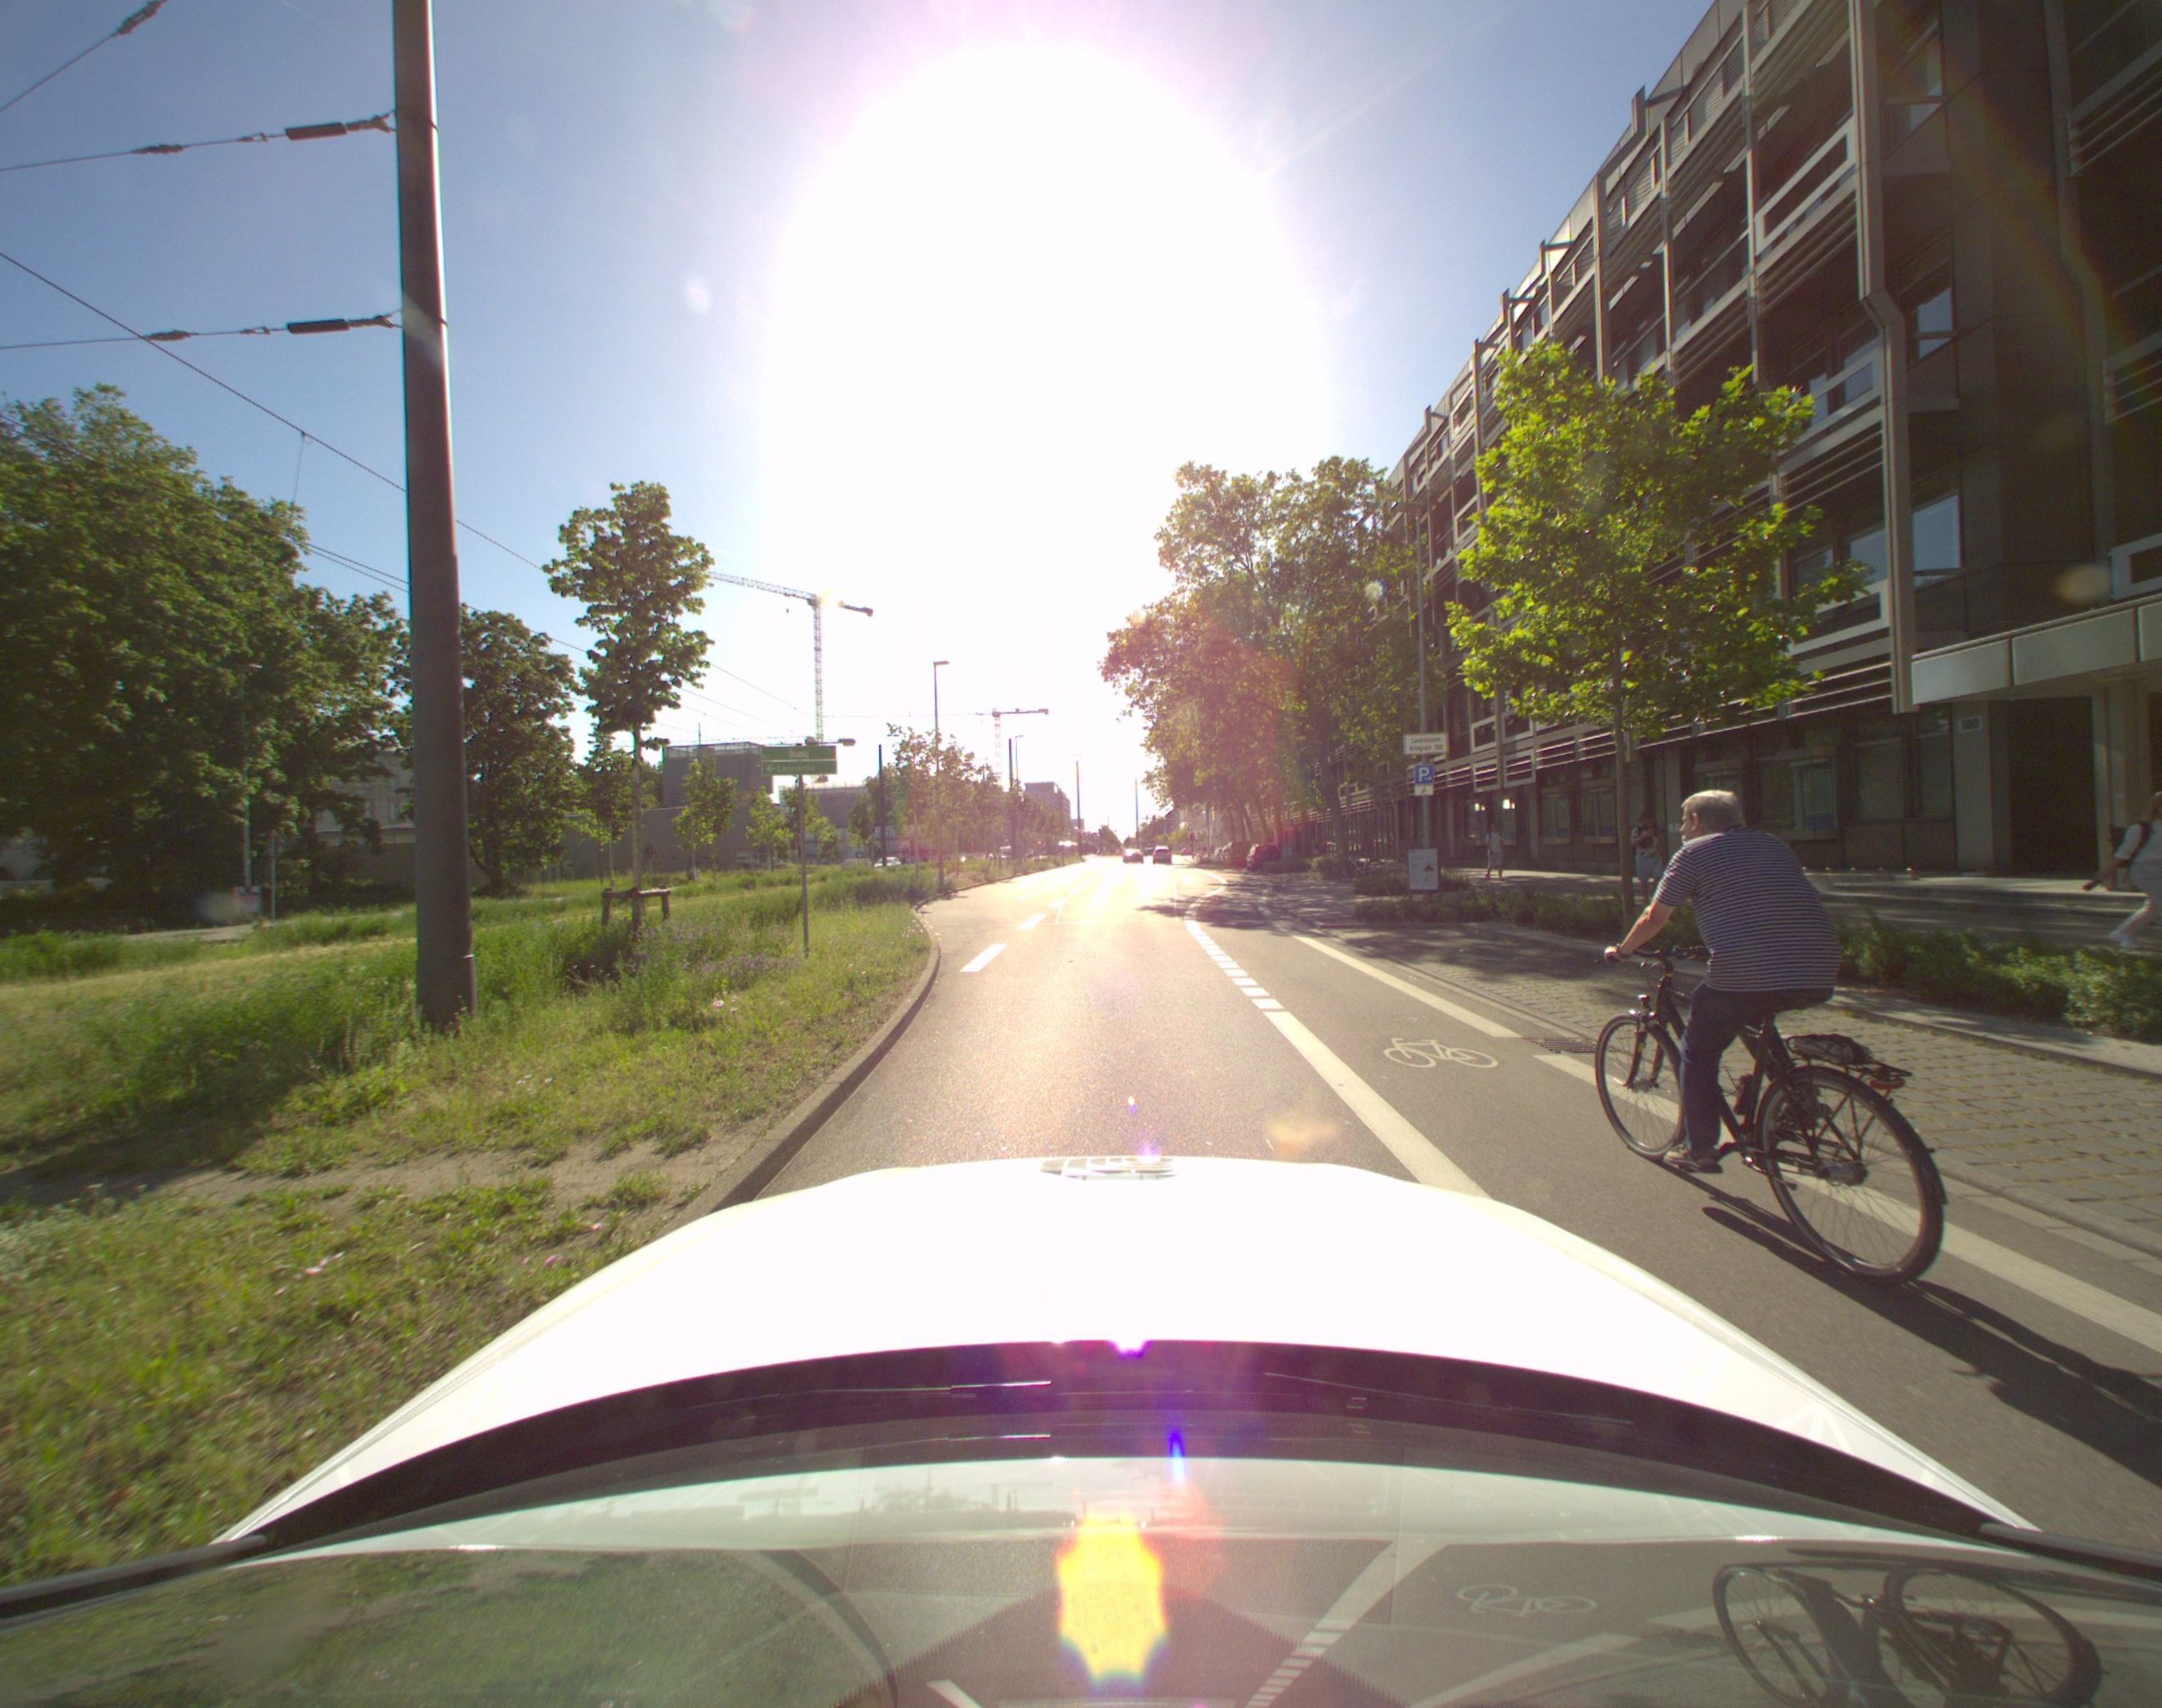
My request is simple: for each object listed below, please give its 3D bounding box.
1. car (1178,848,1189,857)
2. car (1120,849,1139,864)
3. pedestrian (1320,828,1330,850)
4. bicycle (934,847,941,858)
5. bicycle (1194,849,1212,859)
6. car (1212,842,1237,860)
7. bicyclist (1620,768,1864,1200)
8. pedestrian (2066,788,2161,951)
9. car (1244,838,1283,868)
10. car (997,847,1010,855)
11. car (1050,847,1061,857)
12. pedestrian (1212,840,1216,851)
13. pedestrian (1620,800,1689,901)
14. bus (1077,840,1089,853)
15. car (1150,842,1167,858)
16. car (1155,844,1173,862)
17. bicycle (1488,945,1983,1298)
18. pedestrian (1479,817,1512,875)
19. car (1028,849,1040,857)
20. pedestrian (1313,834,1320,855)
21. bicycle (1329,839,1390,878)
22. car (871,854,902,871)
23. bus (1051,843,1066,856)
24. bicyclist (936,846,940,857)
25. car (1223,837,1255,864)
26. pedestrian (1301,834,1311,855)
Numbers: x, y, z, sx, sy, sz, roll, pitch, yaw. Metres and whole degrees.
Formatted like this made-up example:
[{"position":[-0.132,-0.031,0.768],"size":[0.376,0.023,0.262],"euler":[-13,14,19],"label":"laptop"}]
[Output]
[{"position":[18.750,-0.227,148.662],"size":[1.655,1.649,3.703],"euler":[0,0,2],"label":"car"},{"position":[5.061,0.250,84.833],"size":[1.904,1.486,4.013],"euler":[-2,1,3],"label":"car"},{"position":[18.464,-1.129,61.577],"size":[0.551,1.603,0.574],"euler":[-2,0,4],"label":"pedestrian"},{"position":[-18.870,-0.179,107.350],"size":[0.358,1.455,1.916],"euler":[-2,1,5],"label":"bicycle"},{"position":[12.098,0.003,80.594],"size":[1.688,0.957,0.478],"euler":[-3,0,-1],"label":"bicycle"},{"position":[12.624,-0.254,71.973],"size":[1.696,1.492,4.606],"euler":[-2,1,4],"label":"car"},{"position":[2.658,0.485,3.323],"size":[0.511,1.601,0.536],"euler":[-2,0,-1],"label":"bicyclist"},{"position":[10.086,0.127,7.729],"size":[0.508,1.474,0.737],"euler":[-4,0,3],"label":"pedestrian"},{"position":[10.686,-0.099,47.976],"size":[1.695,1.643,4.644],"euler":[-2,1,6],"label":"car"},{"position":[-11.172,-0.406,117.456],"size":[1.370,1.178,3.223],"euler":[0,0,4],"label":"car"},{"position":[-4.544,-0.347,145.297],"size":[1.890,1.816,4.001],"euler":[0,0,1],"label":"car"},{"position":[17.709,-1.076,108.377],"size":[0.558,1.440,0.633],"euler":[0,-1,11],"label":"pedestrian"},{"position":[10.152,-0.060,14.435],"size":[0.645,1.728,0.804],"euler":[-2,0,3],"label":"pedestrian"},{"position":[0.581,-1.809,193.767],"size":[2.618,2.959,9.902],"euler":[0,0,2],"label":"bus"},{"position":[8.975,-0.481,94.772],"size":[1.714,1.782,4.189],"euler":[-2,1,3],"label":"car"},{"position":[8.157,-0.126,80.178],"size":[1.713,1.618,4.193],"euler":[-2,1,6],"label":"car"},{"position":[2.675,0.989,3.744],"size":[0.496,0.906,2.196],"euler":[0,0,0],"label":"bicycle"},{"position":[12.515,-0.241,24.606],"size":[0.508,1.700,0.774],"euler":[-4,0,3],"label":"pedestrian"},{"position":[-6.718,-0.153,116.822],"size":[1.370,1.178,3.223],"euler":[0,0,4],"label":"car"},{"position":[17.768,-0.726,61.453],"size":[0.314,1.584,0.501],"euler":[-2,0,-4],"label":"pedestrian"},{"position":[10.140,0.167,29.676],"size":[1.930,1.236,0.579],"euler":[-5,0,1],"label":"bicycle"},{"position":[-17.229,0.755,72.215],"size":[1.626,1.398,3.836],"euler":[-2,1,3],"label":"car"},{"position":[-4.860,-0.931,177.081],"size":[2.618,2.783,8.847],"euler":[0,0,2],"label":"bus"},{"position":[-18.873,-0.326,107.307],"size":[0.392,1.454,0.540],"euler":[0,0,3],"label":"bicyclist"},{"position":[11.481,-0.271,59.488],"size":[1.696,1.789,4.197],"euler":[-4,0,4],"label":"car"},{"position":[17.013,-0.728,61.483],"size":[0.504,1.584,0.634],"euler":[-2,0,-5],"label":"pedestrian"}]
